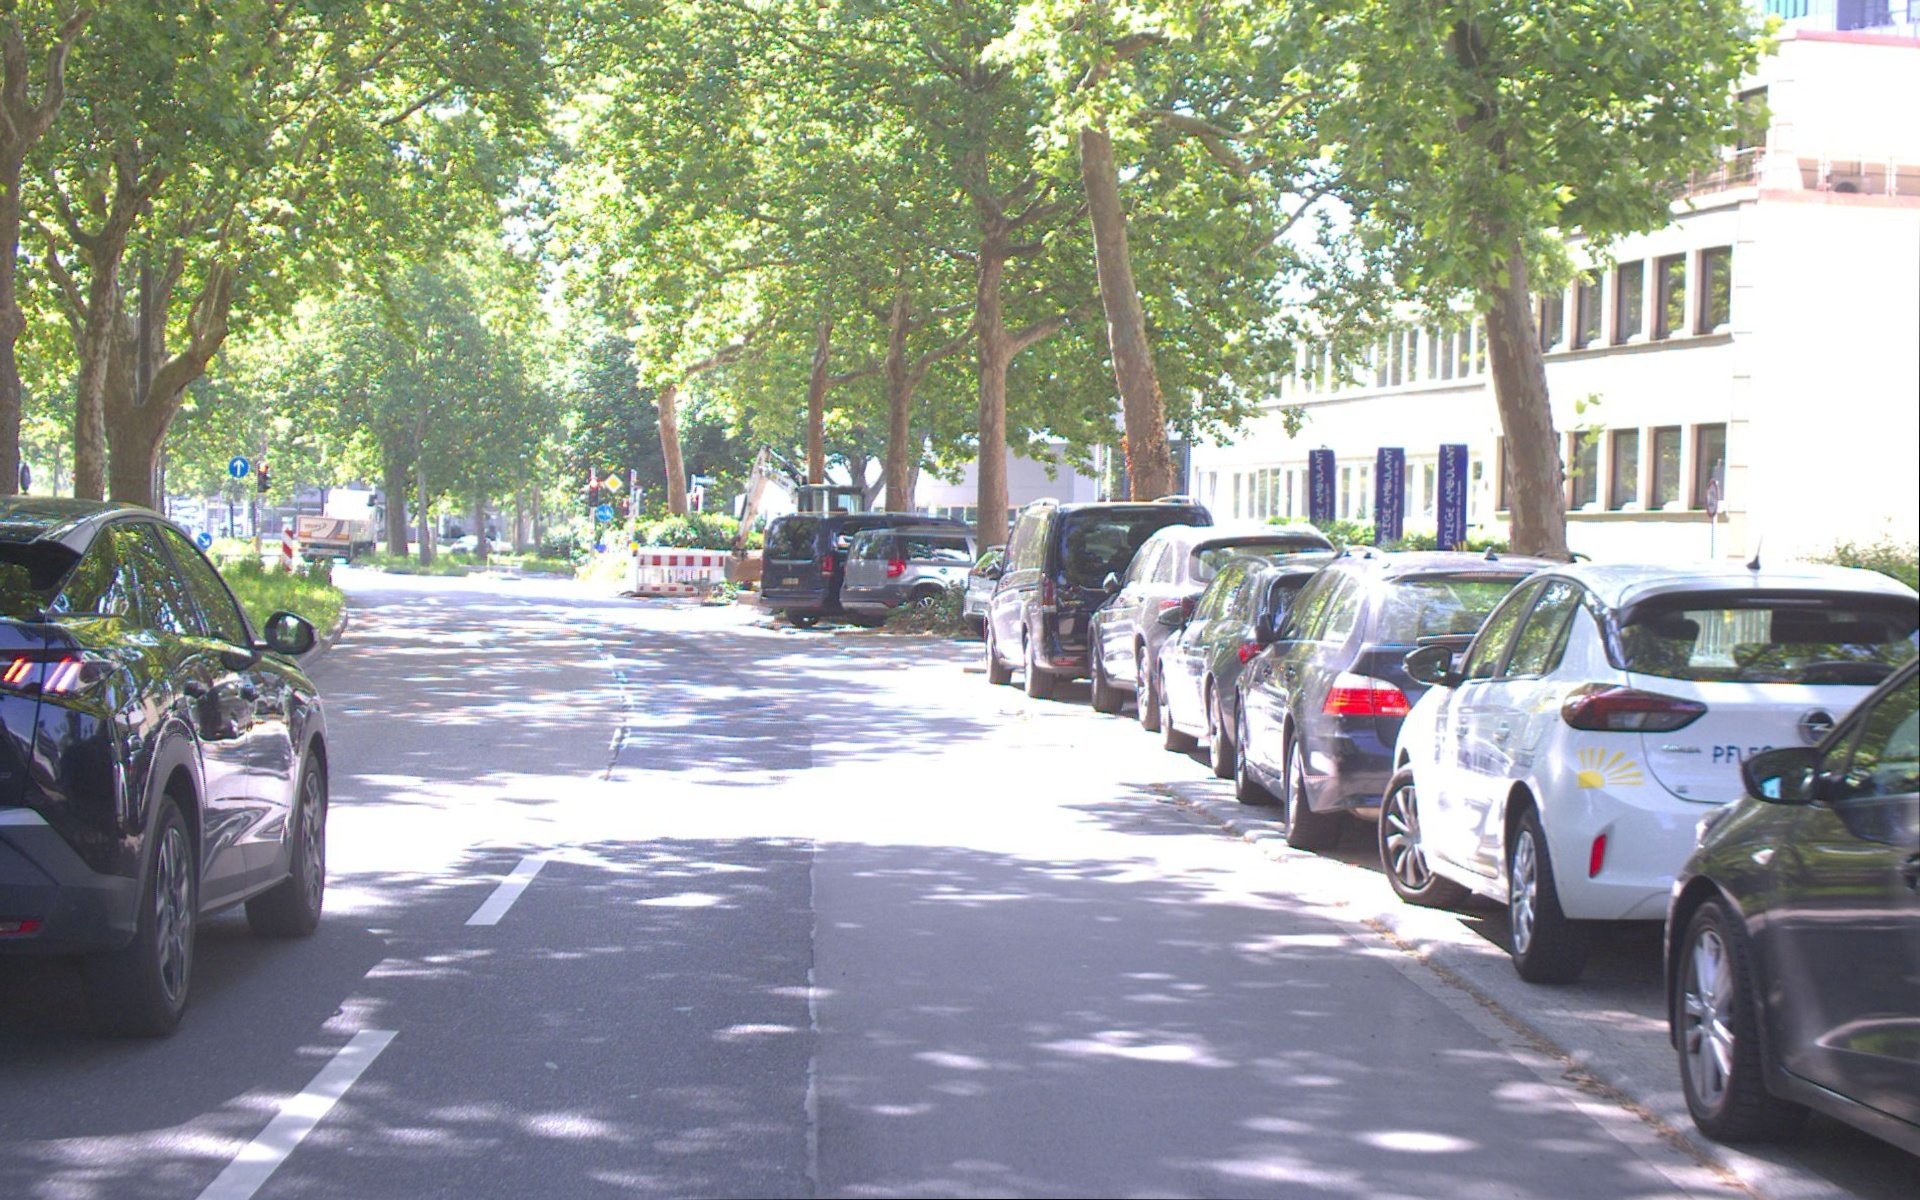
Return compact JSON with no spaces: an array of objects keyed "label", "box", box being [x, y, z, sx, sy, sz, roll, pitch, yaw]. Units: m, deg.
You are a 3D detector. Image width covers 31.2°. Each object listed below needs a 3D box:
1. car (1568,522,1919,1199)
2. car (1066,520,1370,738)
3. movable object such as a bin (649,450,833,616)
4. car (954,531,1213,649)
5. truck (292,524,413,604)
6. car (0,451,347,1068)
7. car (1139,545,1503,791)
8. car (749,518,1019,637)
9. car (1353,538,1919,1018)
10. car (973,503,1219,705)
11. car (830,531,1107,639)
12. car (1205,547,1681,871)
[{"label":"car","box":[2.776,0.584,7.330,1.706,1.482,4.720,0,1,-5]},{"label":"car","box":[2.084,0.188,28.997,1.706,1.664,4.535,1,1,-6]},{"label":"movable object such as a bin","box":[-4.448,-1.357,69.502,2.328,3.230,3.431,1,1,-31]},{"label":"car","box":[1.804,-0.155,50.989,3.551,1.634,1.659,1,1,-9]},{"label":"truck","box":[-29.197,-1.726,165.313,5.525,3.665,2.000,1,0,-7]},{"label":"car","box":[-3.338,0.400,11.625,1.872,1.690,4.436,1,1,-2]},{"label":"car","box":[2.343,0.387,23.442,1.706,1.482,4.485,1,1,-4]},{"label":"car","box":[-1.263,-0.375,57.406,4.099,1.873,1.785,1,1,-23]},{"label":"car","box":[2.621,0.535,12.850,1.706,1.482,4.101,1,1,-1]},{"label":"car","box":[1.275,0.003,34.220,1.706,1.835,4.727,1,1,-6]},{"label":"car","box":[0.128,-0.244,55.554,4.098,1.627,1.713,1,1,-22]},{"label":"car","box":[2.380,0.466,18.084,1.706,1.450,4.656,1,1,-1]}]
